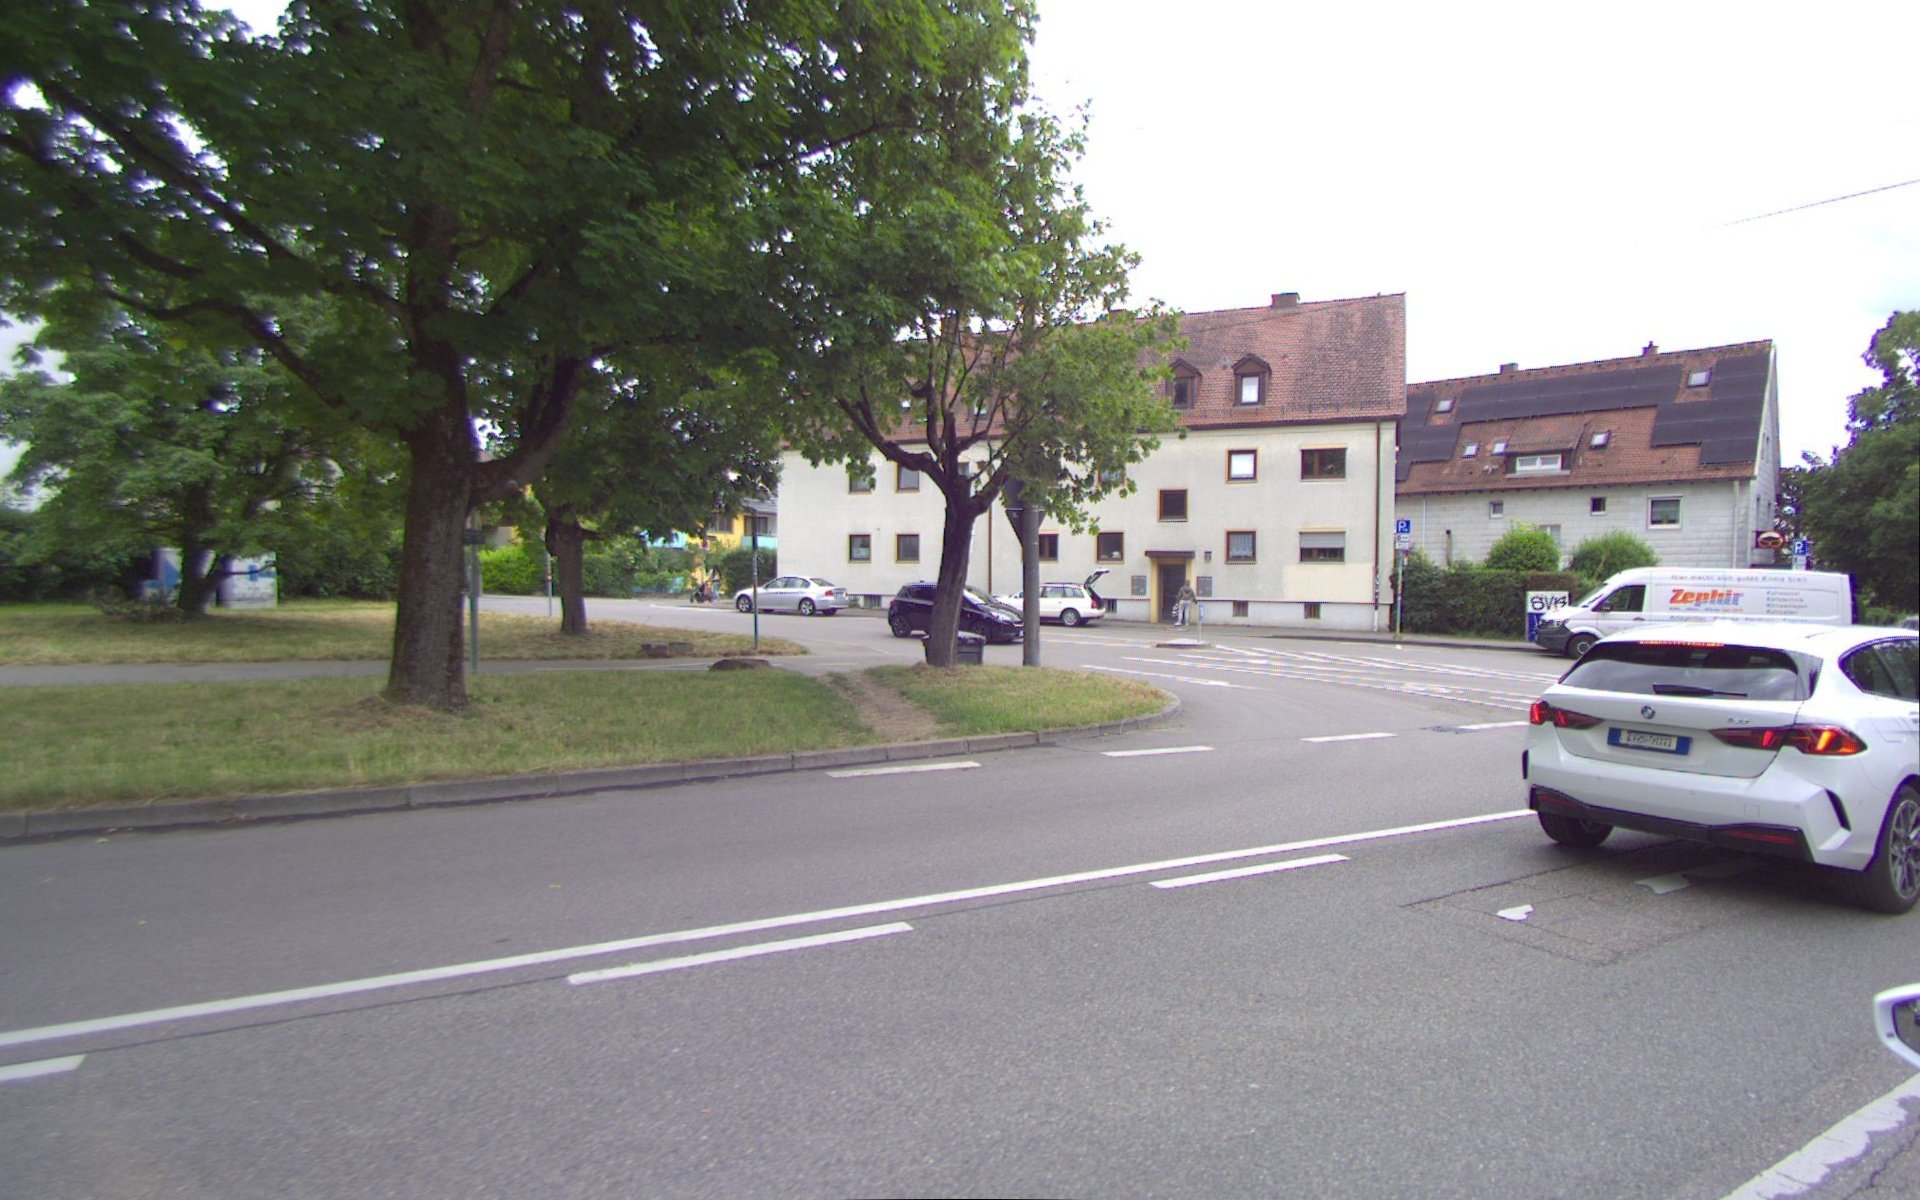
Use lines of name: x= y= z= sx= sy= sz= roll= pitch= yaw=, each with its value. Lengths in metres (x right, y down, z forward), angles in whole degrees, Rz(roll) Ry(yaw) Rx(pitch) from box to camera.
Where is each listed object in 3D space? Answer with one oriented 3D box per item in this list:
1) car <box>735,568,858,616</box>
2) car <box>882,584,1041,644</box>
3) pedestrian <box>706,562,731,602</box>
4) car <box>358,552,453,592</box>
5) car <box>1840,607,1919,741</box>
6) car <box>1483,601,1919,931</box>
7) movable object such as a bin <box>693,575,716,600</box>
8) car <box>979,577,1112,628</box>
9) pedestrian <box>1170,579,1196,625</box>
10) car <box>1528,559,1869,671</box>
car: x=-6.021 y=-0.286 z=37.073 sx=4.151 sy=1.554 sz=1.683 roll=3 pitch=0 yaw=22
car: x=0.010 y=0.311 z=26.665 sx=3.928 sy=1.355 sz=1.641 roll=2 pitch=3 yaw=30
pedestrian: x=-10.273 y=-0.787 z=42.696 sx=0.767 sy=1.655 sz=0.681 roll=4 pitch=4 yaw=25
car: x=-24.889 y=-1.277 z=45.108 sx=3.815 sy=1.556 sz=1.802 roll=4 pitch=4 yaw=23
car: x=13.425 y=0.930 z=13.434 sx=1.896 sy=1.595 sz=3.989 roll=2 pitch=1 yaw=33
car: x=5.491 y=0.823 z=6.500 sx=4.156 sy=1.537 sz=1.788 roll=1 pitch=-1 yaw=-30
movable object such as a bin: x=-10.971 y=-0.525 z=43.145 sx=0.862 sy=1.010 sz=0.403 roll=4 pitch=4 yaw=25
car: x=2.969 y=0.044 z=34.814 sx=4.232 sy=1.459 sz=1.721 roll=3 pitch=4 yaw=20
pedestrian: x=7.883 y=0.059 z=35.490 sx=0.735 sy=1.555 sz=0.716 roll=3 pitch=4 yaw=20
car: x=19.174 y=0.268 z=26.628 sx=6.846 sy=2.556 sz=2.083 roll=3 pitch=3 yaw=23
